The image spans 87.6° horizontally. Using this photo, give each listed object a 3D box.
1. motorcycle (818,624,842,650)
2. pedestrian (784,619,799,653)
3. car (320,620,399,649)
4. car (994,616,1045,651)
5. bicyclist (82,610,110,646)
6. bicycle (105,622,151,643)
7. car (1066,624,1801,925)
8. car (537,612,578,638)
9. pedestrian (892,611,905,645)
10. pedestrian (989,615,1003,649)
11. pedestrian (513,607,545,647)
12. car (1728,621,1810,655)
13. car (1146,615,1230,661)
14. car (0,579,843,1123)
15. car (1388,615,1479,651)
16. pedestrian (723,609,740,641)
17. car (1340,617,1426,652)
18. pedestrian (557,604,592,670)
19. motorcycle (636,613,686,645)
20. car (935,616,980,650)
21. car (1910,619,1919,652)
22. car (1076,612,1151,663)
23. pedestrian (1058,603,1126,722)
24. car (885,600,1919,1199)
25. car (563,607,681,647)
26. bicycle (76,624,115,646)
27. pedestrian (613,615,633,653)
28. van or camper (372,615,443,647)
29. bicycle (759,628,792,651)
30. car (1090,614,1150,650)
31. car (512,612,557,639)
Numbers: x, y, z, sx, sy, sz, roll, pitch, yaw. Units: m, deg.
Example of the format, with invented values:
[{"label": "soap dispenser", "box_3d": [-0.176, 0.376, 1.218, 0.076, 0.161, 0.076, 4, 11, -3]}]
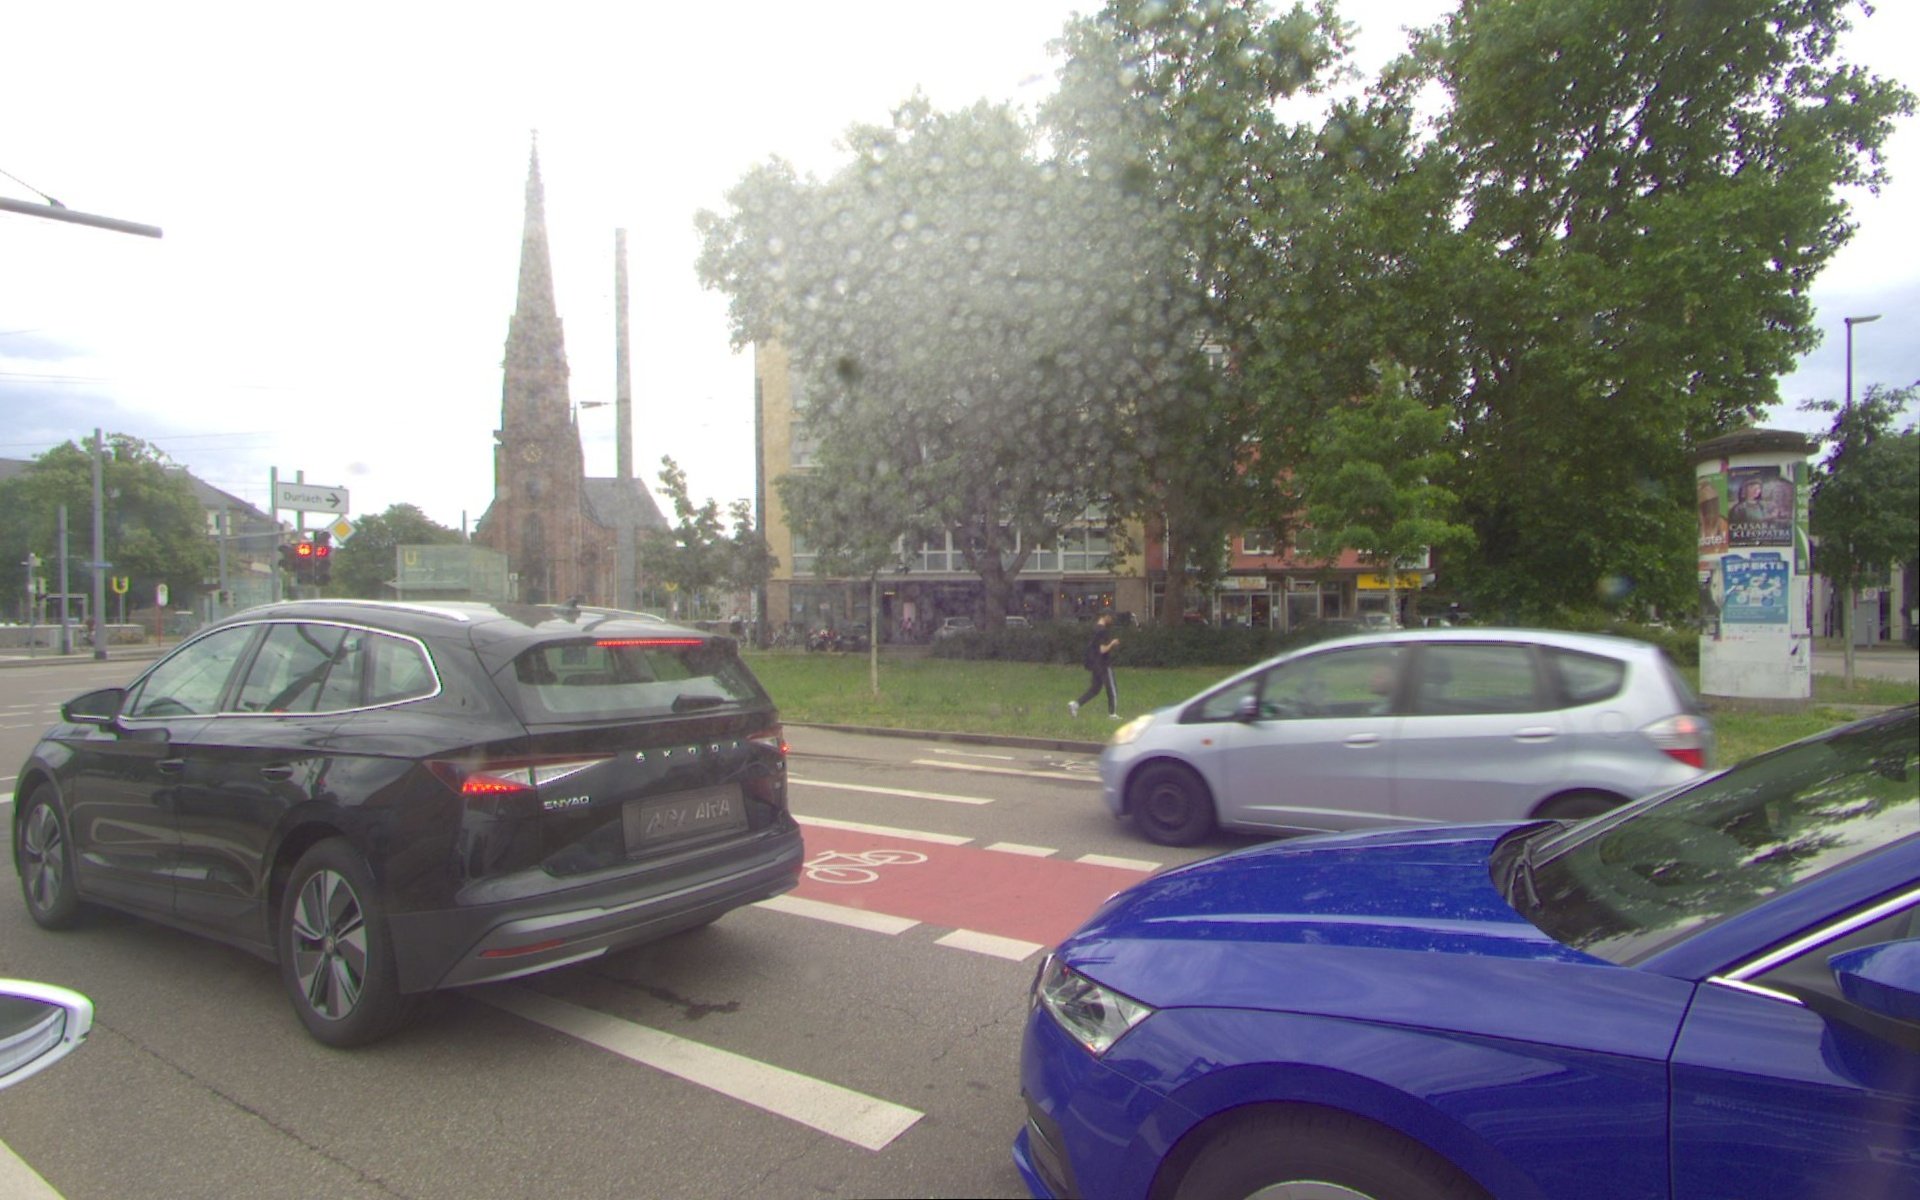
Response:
[{"label": "motorcycle", "box_3d": [-5.106, 1.458, 39.300, 0.858, 1.010, 1.014, 0, -1, -12]}, {"label": "pedestrian", "box_3d": [-8.497, 1.810, 50.376, 0.625, 1.659, 0.872, 0, 0, -1]}, {"label": "car", "box_3d": [-32.233, 1.825, 53.872, 1.740, 1.483, 4.001, -1, -1, 1]}, {"label": "car", "box_3d": [2.675, 1.509, 46.190, 1.825, 1.509, 4.476, 0, -1, -3]}, {"label": "bicyclist", "box_3d": [-47.381, 1.529, 54.923, 0.764, 1.922, 0.996, 0, 0, -13]}, {"label": "bicycle", "box_3d": [-55.430, 2.146, 66.726, 0.699, 1.348, 2.252, -2, -1, 39]}, {"label": "car", "box_3d": [2.919, 0.913, 6.800, 4.038, 1.486, 1.746, -1, -1, 32]}, {"label": "car", "box_3d": [-32.555, 2.007, 81.034, 1.961, 2.040, 4.000, 0, -1, -5]}, {"label": "pedestrian", "box_3d": [-3.021, 1.399, 49.299, 0.625, 1.659, 0.872, 0, 0, 0]}, {"label": "pedestrian", "box_3d": [1.788, 1.600, 49.649, 0.625, 1.659, 0.872, 0, 0, 0]}, {"label": "pedestrian", "box_3d": [-20.435, 1.276, 47.519, 1.066, 1.820, 0.947, -1, -1, -1]}, {"label": "car", "box_3d": [43.533, 2.018, 54.015, 1.828, 1.644, 4.469, -2, -1, 17]}, {"label": "car", "box_3d": [8.241, 1.352, 36.666, 1.825, 1.568, 4.476, 0, -1, -3]}, {"label": "car", "box_3d": [-2.874, 0.787, 4.902, 4.443, 1.617, 1.774, -1, -1, 31]}, {"label": "car", "box_3d": [21.981, 1.506, 46.674, 1.825, 1.568, 4.476, 0, -1, -5]}, {"label": "pedestrian", "box_3d": [-11.984, 1.329, 52.454, 0.771, 1.659, 0.637, 0, 0, -4]}, {"label": "car", "box_3d": [19.515, 1.566, 46.439, 1.825, 1.568, 4.476, 0, -1, -5]}, {"label": "pedestrian", "box_3d": [-11.492, 1.093, 29.856, 0.874, 1.956, 1.016, 0, 0, -16]}, {"label": "motorcycle", "box_3d": [-11.108, 1.071, 37.324, 0.753, 1.183, 2.385, 0, -1, 12]}, {"label": "car", "box_3d": [-0.143, 1.494, 46.142, 1.825, 1.509, 4.476, 0, -1, -3]}, {"label": "car", "box_3d": [46.511, 1.670, 46.339, 1.865, 1.568, 4.469, -2, -1, 17]}, {"label": "car", "box_3d": [5.506, 1.331, 36.467, 1.825, 1.745, 4.476, 0, -1, -3]}, {"label": "pedestrian", "box_3d": [2.120, 0.988, 16.155, 0.968, 1.868, 0.536, 0, 0, -11]}, {"label": "car", "box_3d": [2.173, 0.749, 1.663, 4.402, 1.508, 1.776, -1, -1, 32]}, {"label": "car", "box_3d": [-18.125, 1.430, 53.910, 5.674, 2.039, 2.011, 0, -1, -40]}, {"label": "bicycle", "box_3d": [-47.420, 1.900, 54.946, 0.763, 1.199, 2.030, 0, -1, -13]}, {"label": "pedestrian", "box_3d": [-15.143, 1.528, 44.984, 0.625, 1.659, 0.872, 0, 0, -1]}, {"label": "van or camper", "box_3d": [-33.017, 1.841, 59.990, 1.961, 1.764, 4.305, -1, -1, -3]}, {"label": "bicycle", "box_3d": [-7.443, 1.584, 40.446, 1.240, 0.929, 0.595, 0, 0, 2]}, {"label": "car", "box_3d": [7.387, 1.471, 46.687, 1.825, 1.568, 4.476, 0, -1, -3]}, {"label": "car", "box_3d": [-32.467, 1.928, 76.482, 1.961, 2.040, 4.000, 0, -1, -5]}]
